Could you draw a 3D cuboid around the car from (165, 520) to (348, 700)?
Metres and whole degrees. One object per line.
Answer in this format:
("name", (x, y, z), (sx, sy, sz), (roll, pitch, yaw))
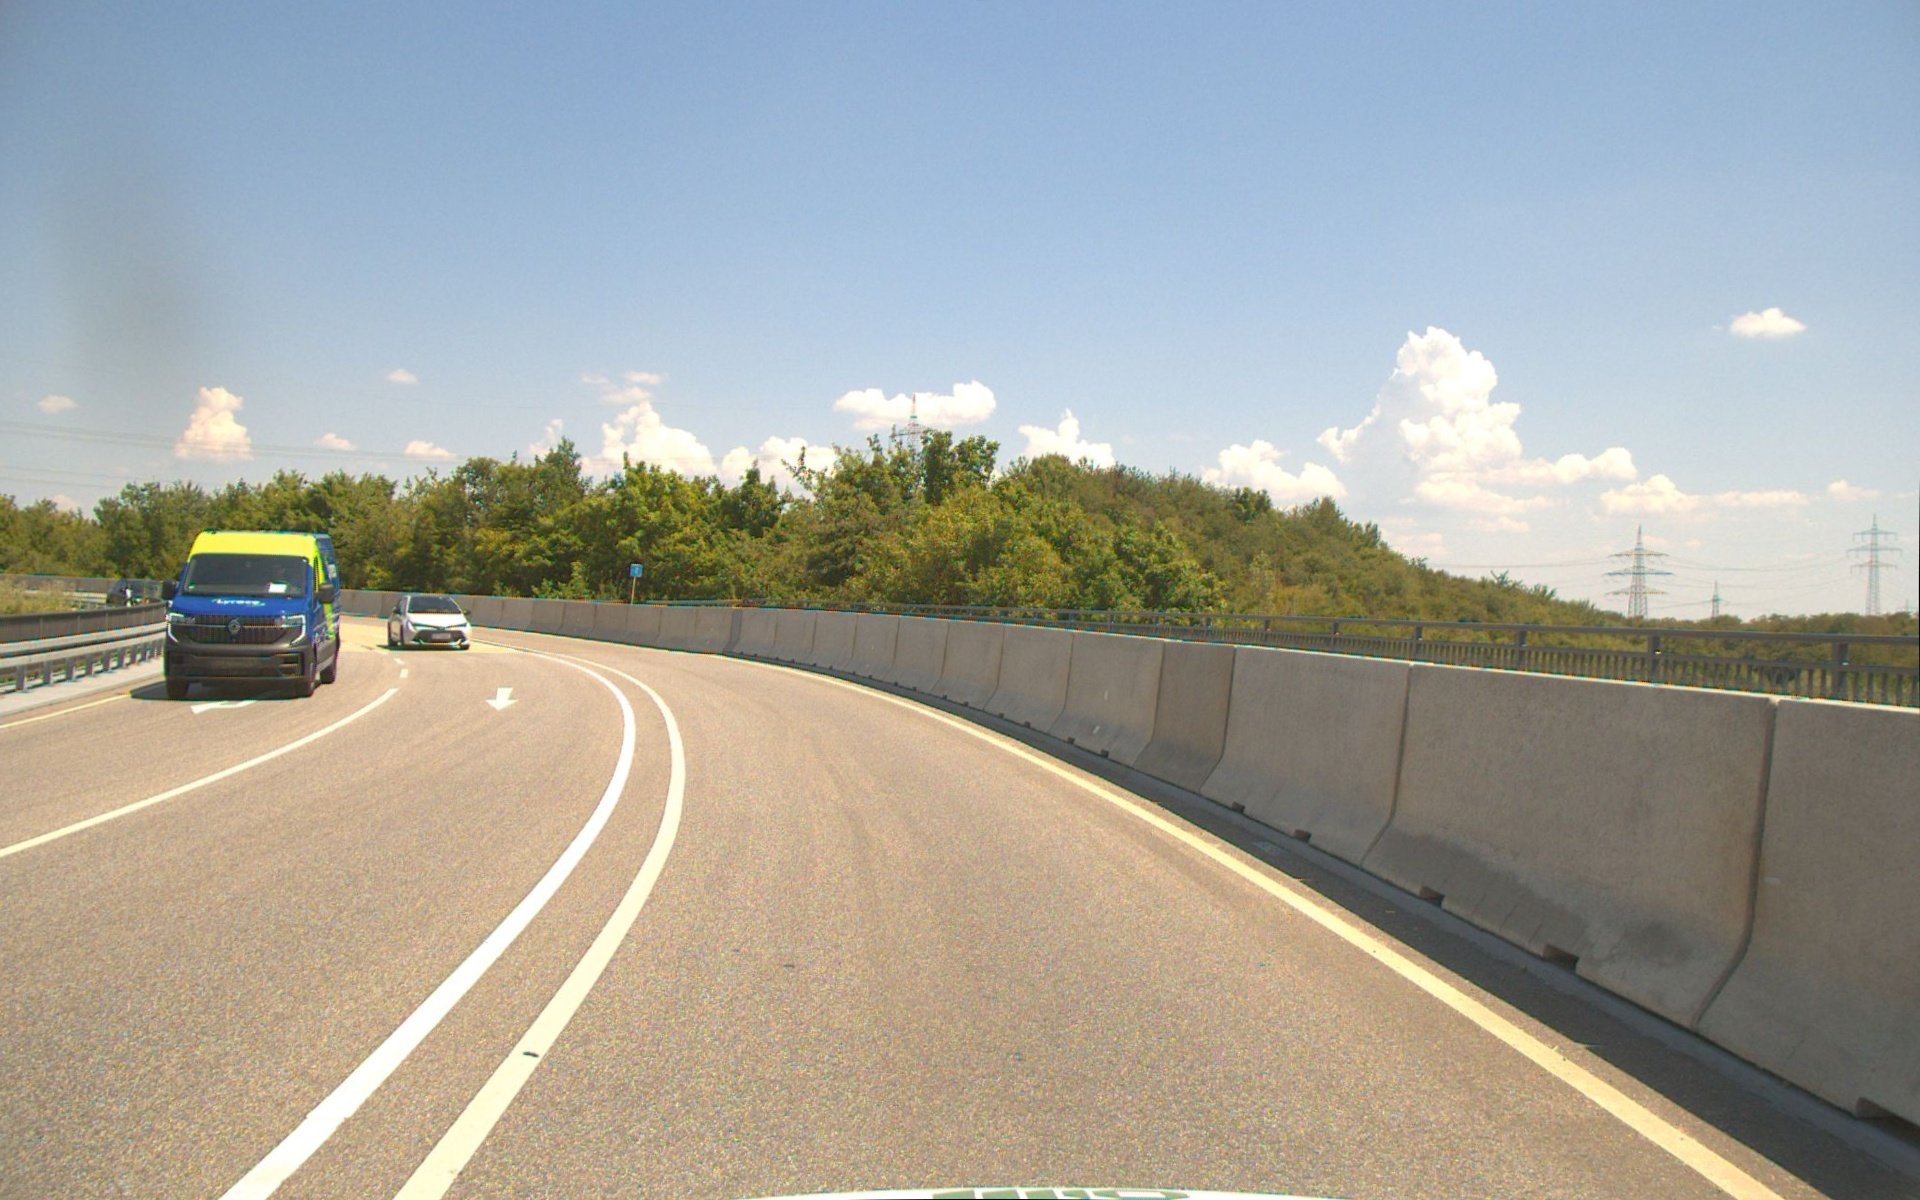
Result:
("car", (-10.996, 0.130, 26.225), (1.961, 2.528, 5.457), (1, 0, -16))

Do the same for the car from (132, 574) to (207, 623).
("car", (-31.490, -0.082, 65.818), (1.802, 1.623, 4.389), (-2, 5, -38))

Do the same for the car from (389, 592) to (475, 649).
("car", (-14.480, 0.544, 45.239), (1.720, 1.484, 4.332), (0, 0, -25))
